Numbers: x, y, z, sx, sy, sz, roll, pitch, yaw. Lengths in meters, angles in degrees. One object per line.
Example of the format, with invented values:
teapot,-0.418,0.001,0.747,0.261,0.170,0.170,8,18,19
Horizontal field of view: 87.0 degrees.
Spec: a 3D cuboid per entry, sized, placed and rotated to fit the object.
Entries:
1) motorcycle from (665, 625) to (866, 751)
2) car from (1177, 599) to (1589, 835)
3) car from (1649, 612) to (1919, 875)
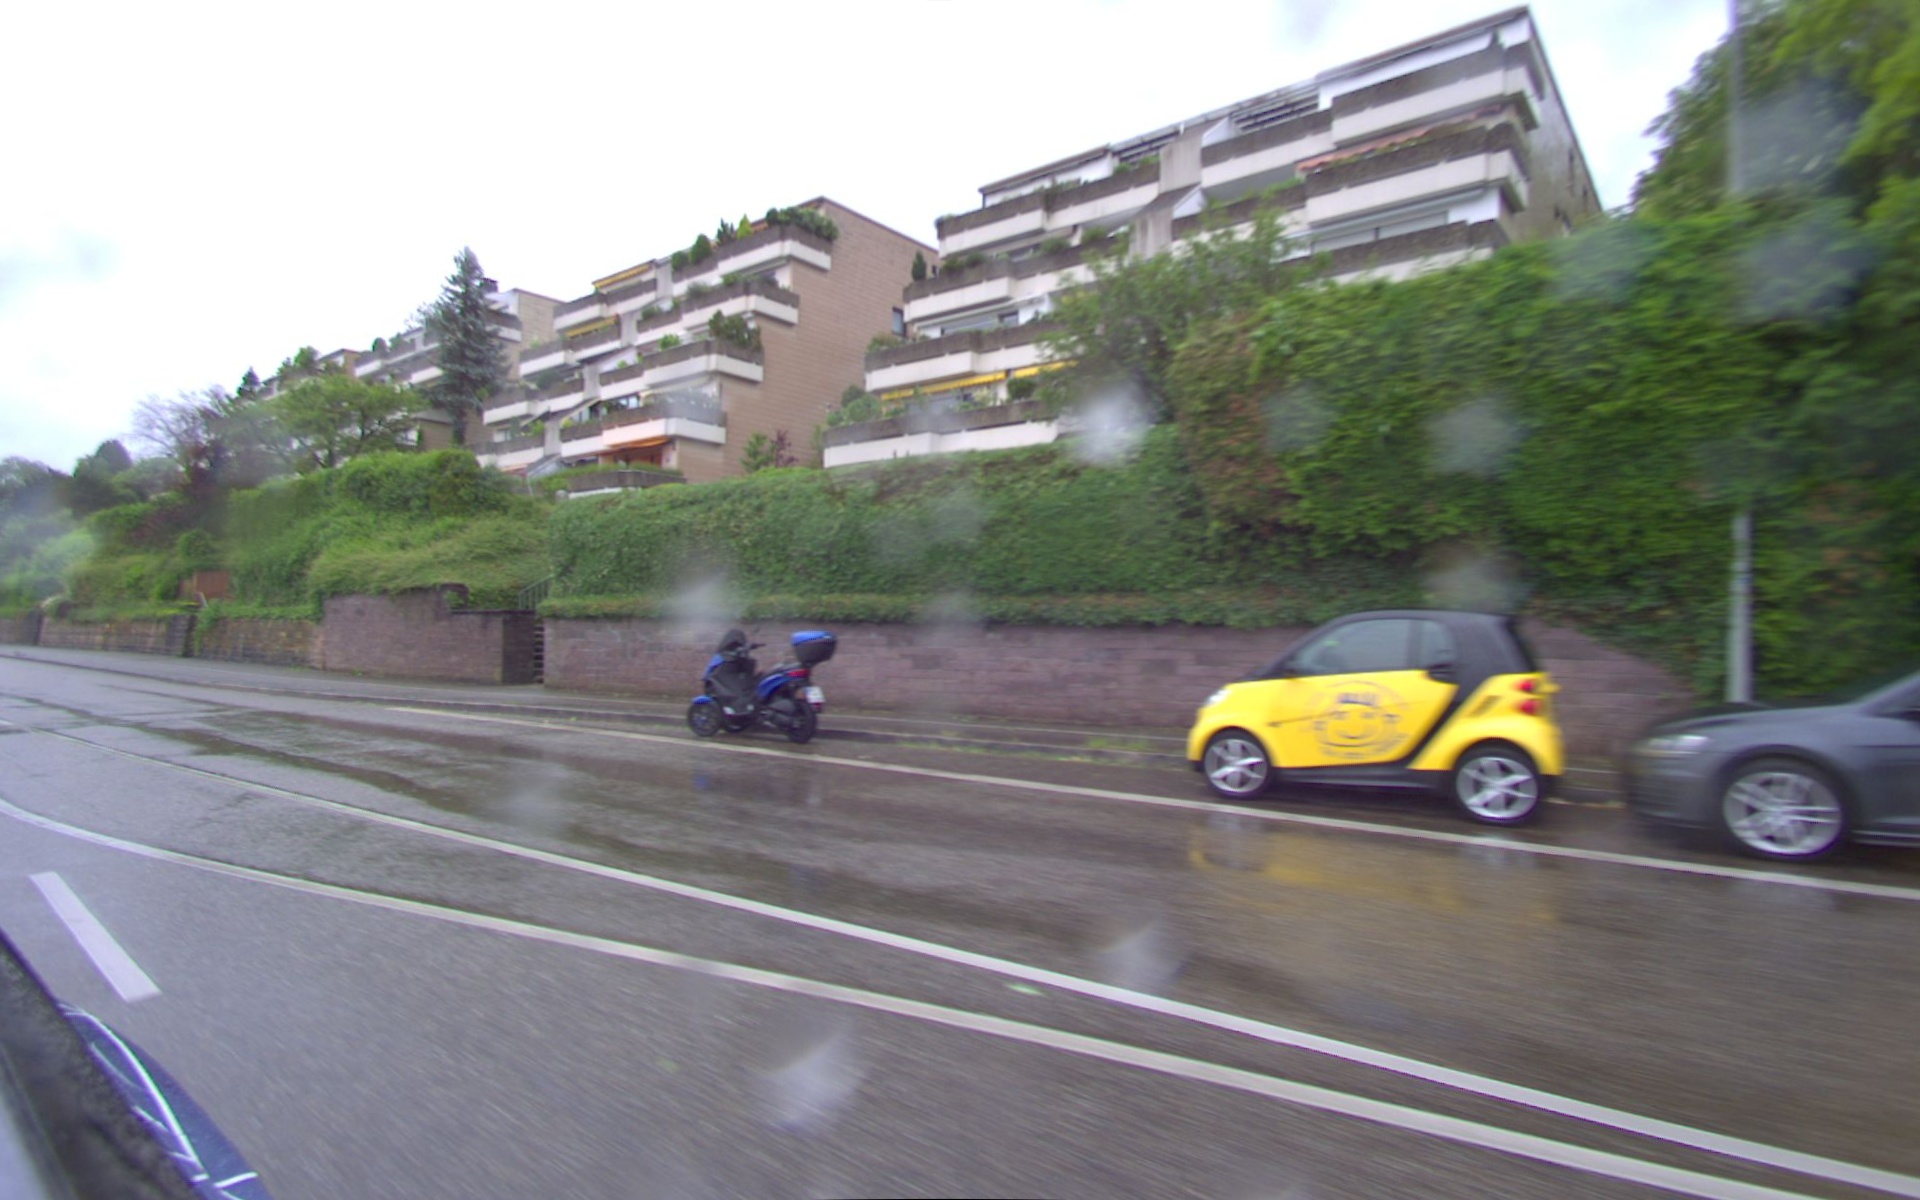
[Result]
motorcycle,-2.350,0.986,12.077,2.492,1.351,0.830,-1,-2,34
car,3.300,0.798,8.007,2.810,1.549,1.422,-1,-2,32
car,6.316,0.793,5.617,4.095,1.430,1.421,-1,-2,35
